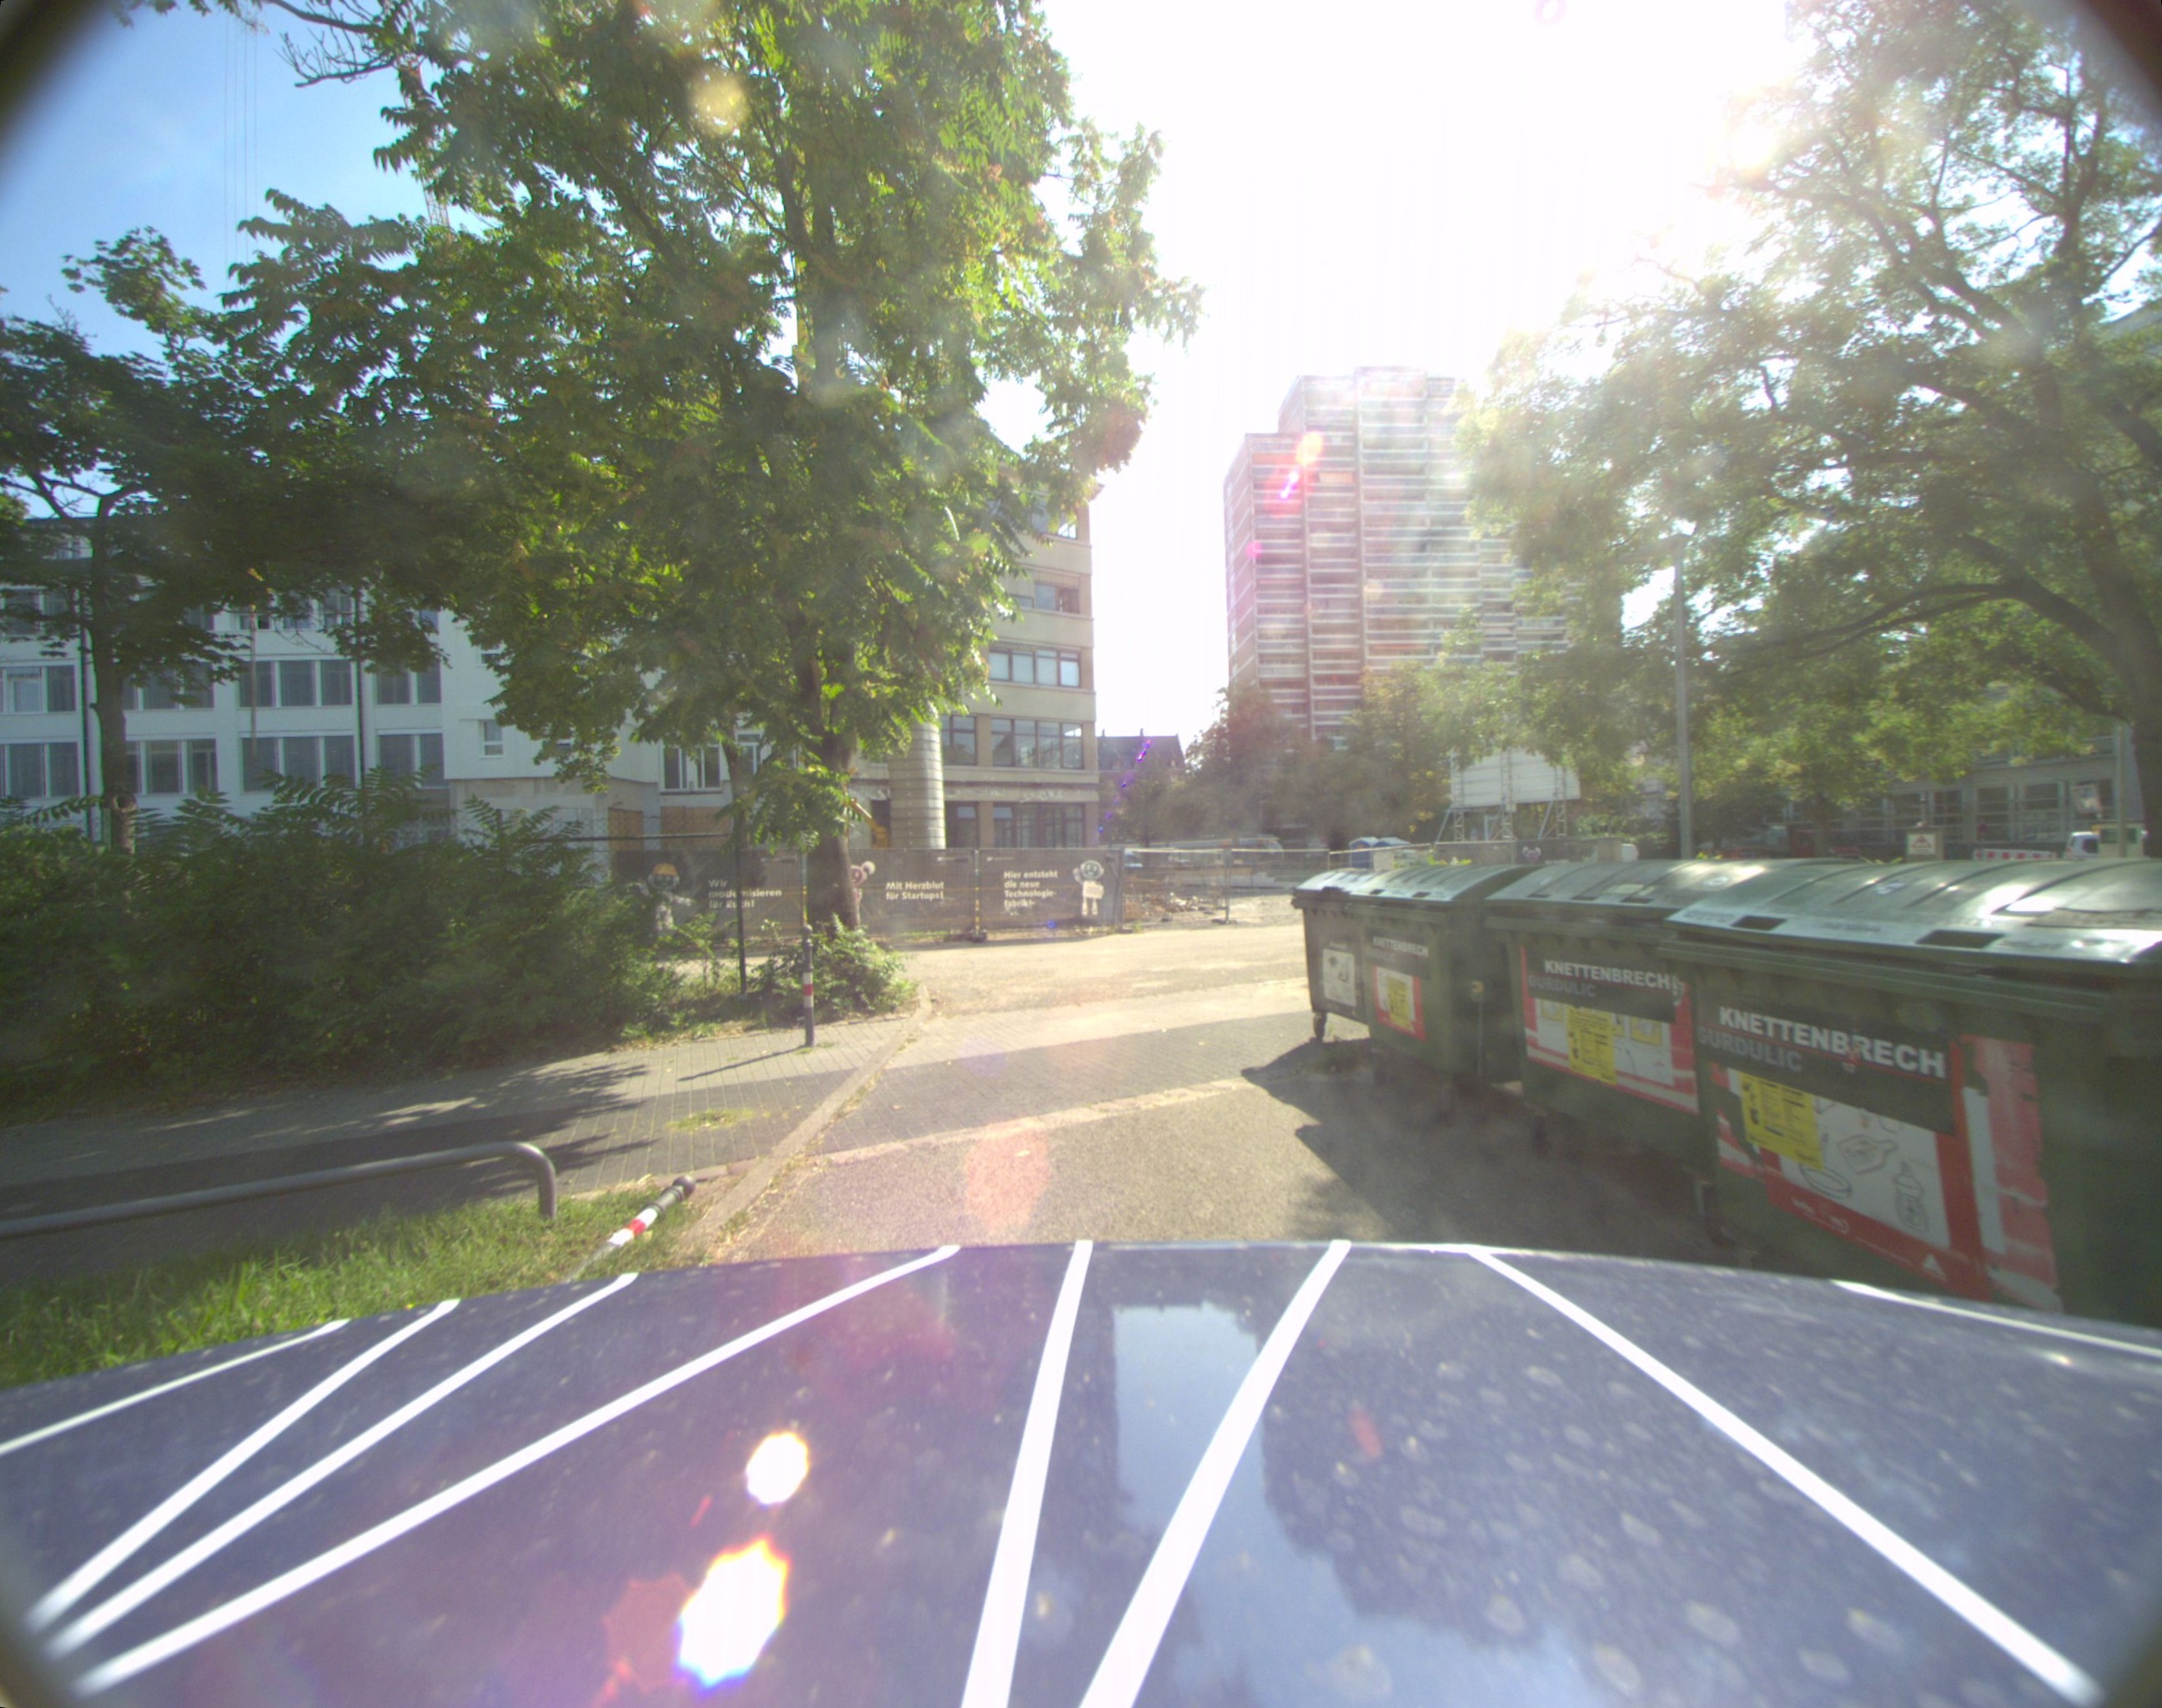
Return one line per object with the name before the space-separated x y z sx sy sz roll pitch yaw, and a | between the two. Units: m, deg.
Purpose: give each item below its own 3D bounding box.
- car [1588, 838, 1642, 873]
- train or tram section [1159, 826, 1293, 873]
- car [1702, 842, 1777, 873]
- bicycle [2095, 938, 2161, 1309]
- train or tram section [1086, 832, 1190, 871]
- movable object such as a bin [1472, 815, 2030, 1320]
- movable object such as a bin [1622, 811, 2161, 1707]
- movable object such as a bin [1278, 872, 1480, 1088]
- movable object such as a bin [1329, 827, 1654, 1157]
car | 31.486 0.073 44.914 1.861 1.892 4.006 -2 0 24
train or tram section | 11.881 -0.272 64.672 2.760 3.551 13.966 -2 0 -29
car | 34.756 0.148 40.225 1.861 1.534 4.006 -2 0 24
bicycle | 3.840 0.907 1.672 0.477 1.206 2.007 -2 1 -2
train or tram section | 5.370 -0.157 76.429 2.760 3.551 14.560 -2 0 -29
movable object such as a bin | 2.713 0.726 3.332 1.184 1.696 1.376 -2 1 -5
movable object such as a bin | 2.457 0.752 1.919 1.183 1.696 1.395 -2 1 3
movable object such as a bin | 2.349 0.928 6.125 1.037 1.489 1.106 -2 1 -12
movable object such as a bin | 2.422 0.722 4.725 1.184 1.696 1.376 -2 1 -5
